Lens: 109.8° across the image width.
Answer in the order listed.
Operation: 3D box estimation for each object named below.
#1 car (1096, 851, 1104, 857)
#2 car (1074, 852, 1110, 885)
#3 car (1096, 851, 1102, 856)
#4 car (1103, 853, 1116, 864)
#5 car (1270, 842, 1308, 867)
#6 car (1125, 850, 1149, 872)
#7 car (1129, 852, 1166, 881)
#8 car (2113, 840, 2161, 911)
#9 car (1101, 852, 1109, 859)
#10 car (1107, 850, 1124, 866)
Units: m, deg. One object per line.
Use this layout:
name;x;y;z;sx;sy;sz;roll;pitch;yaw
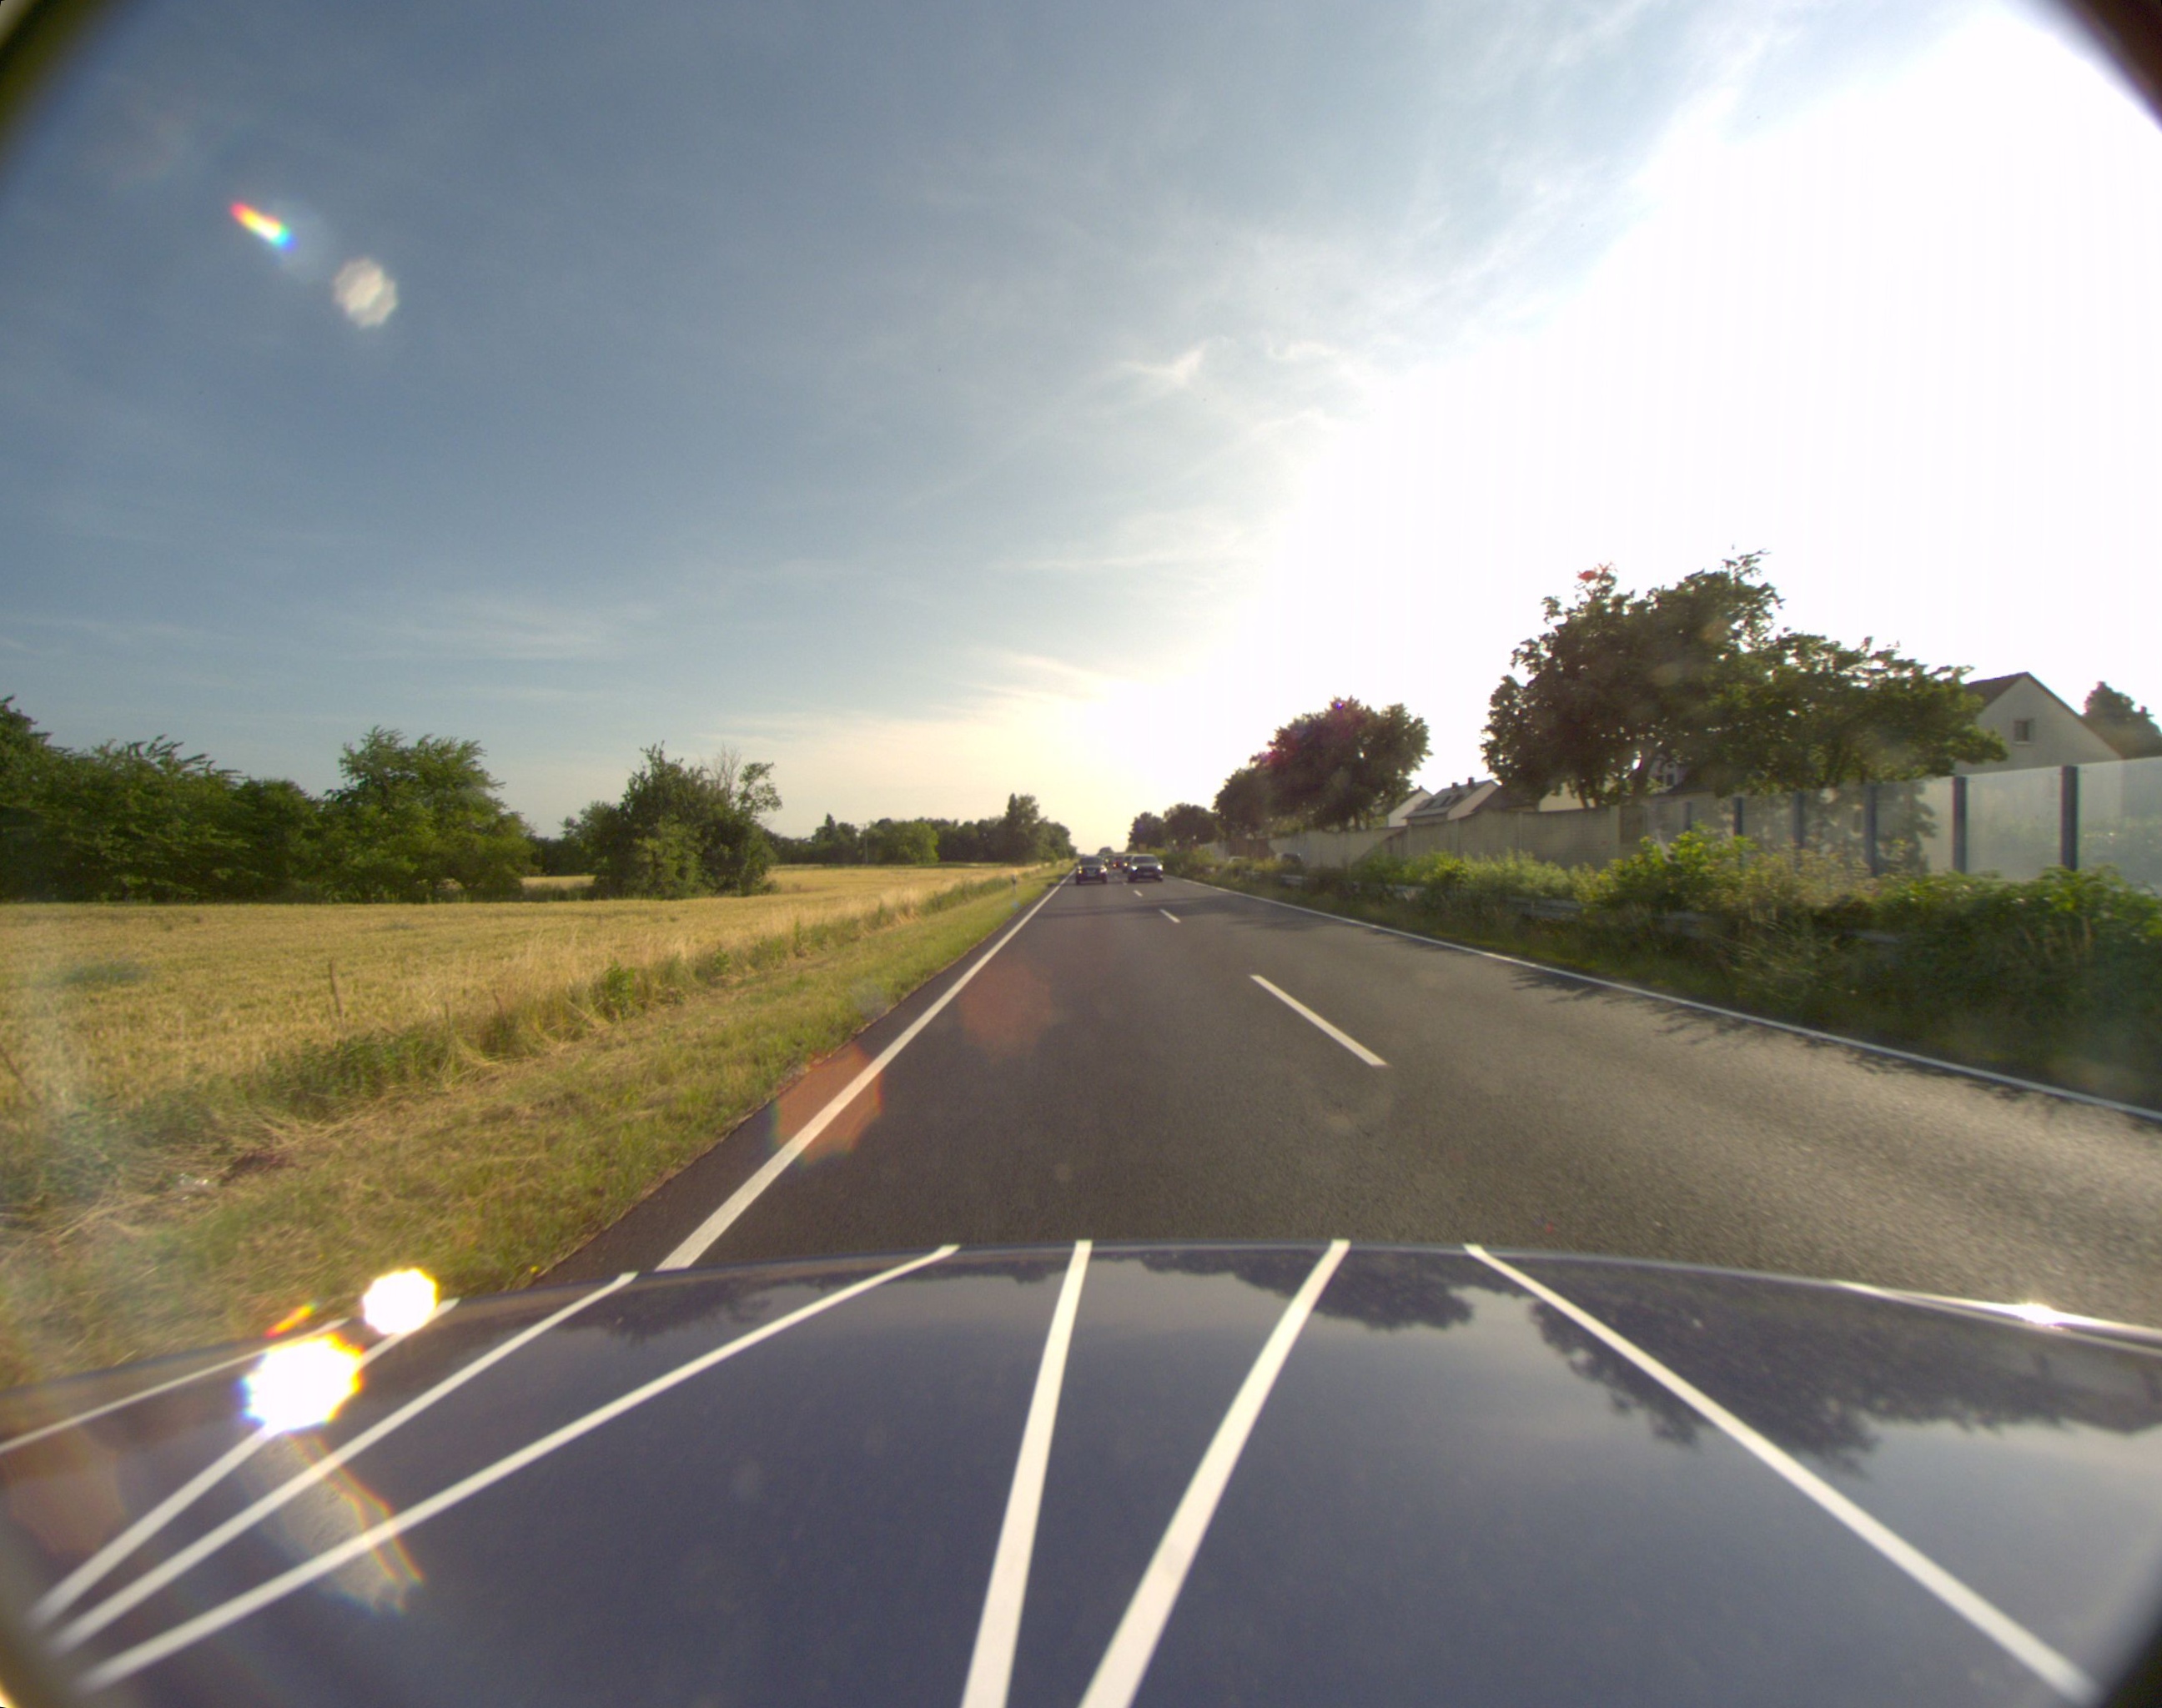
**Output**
car;5.094;-0.010;202.551;1.854;1.641;3.999;-2;1;0
car;0.621;0.744;41.967;1.822;1.661;4.000;-2;1;1
car;6.022;-0.142;250.144;1.766;1.378;3.999;-2;1;0
car;4.281;0.682;114.876;1.700;1.456;3.646;-2;1;1
car;16.106;-0.009;59.046;1.842;1.784;4.299;-2;1;1
car;4.805;0.558;65.578;1.822;1.724;4.000;-2;1;2
car;3.876;0.712;44.819;1.821;1.516;4.246;-2;1;1
car;30.452;0.597;19.308;1.790;1.908;4.914;-2;1;1
car;5.609;0.356;178.421;1.693;1.397;4.000;-2;1;1
car;4.050;0.455;89.576;1.822;1.661;4.000;-2;1;1
